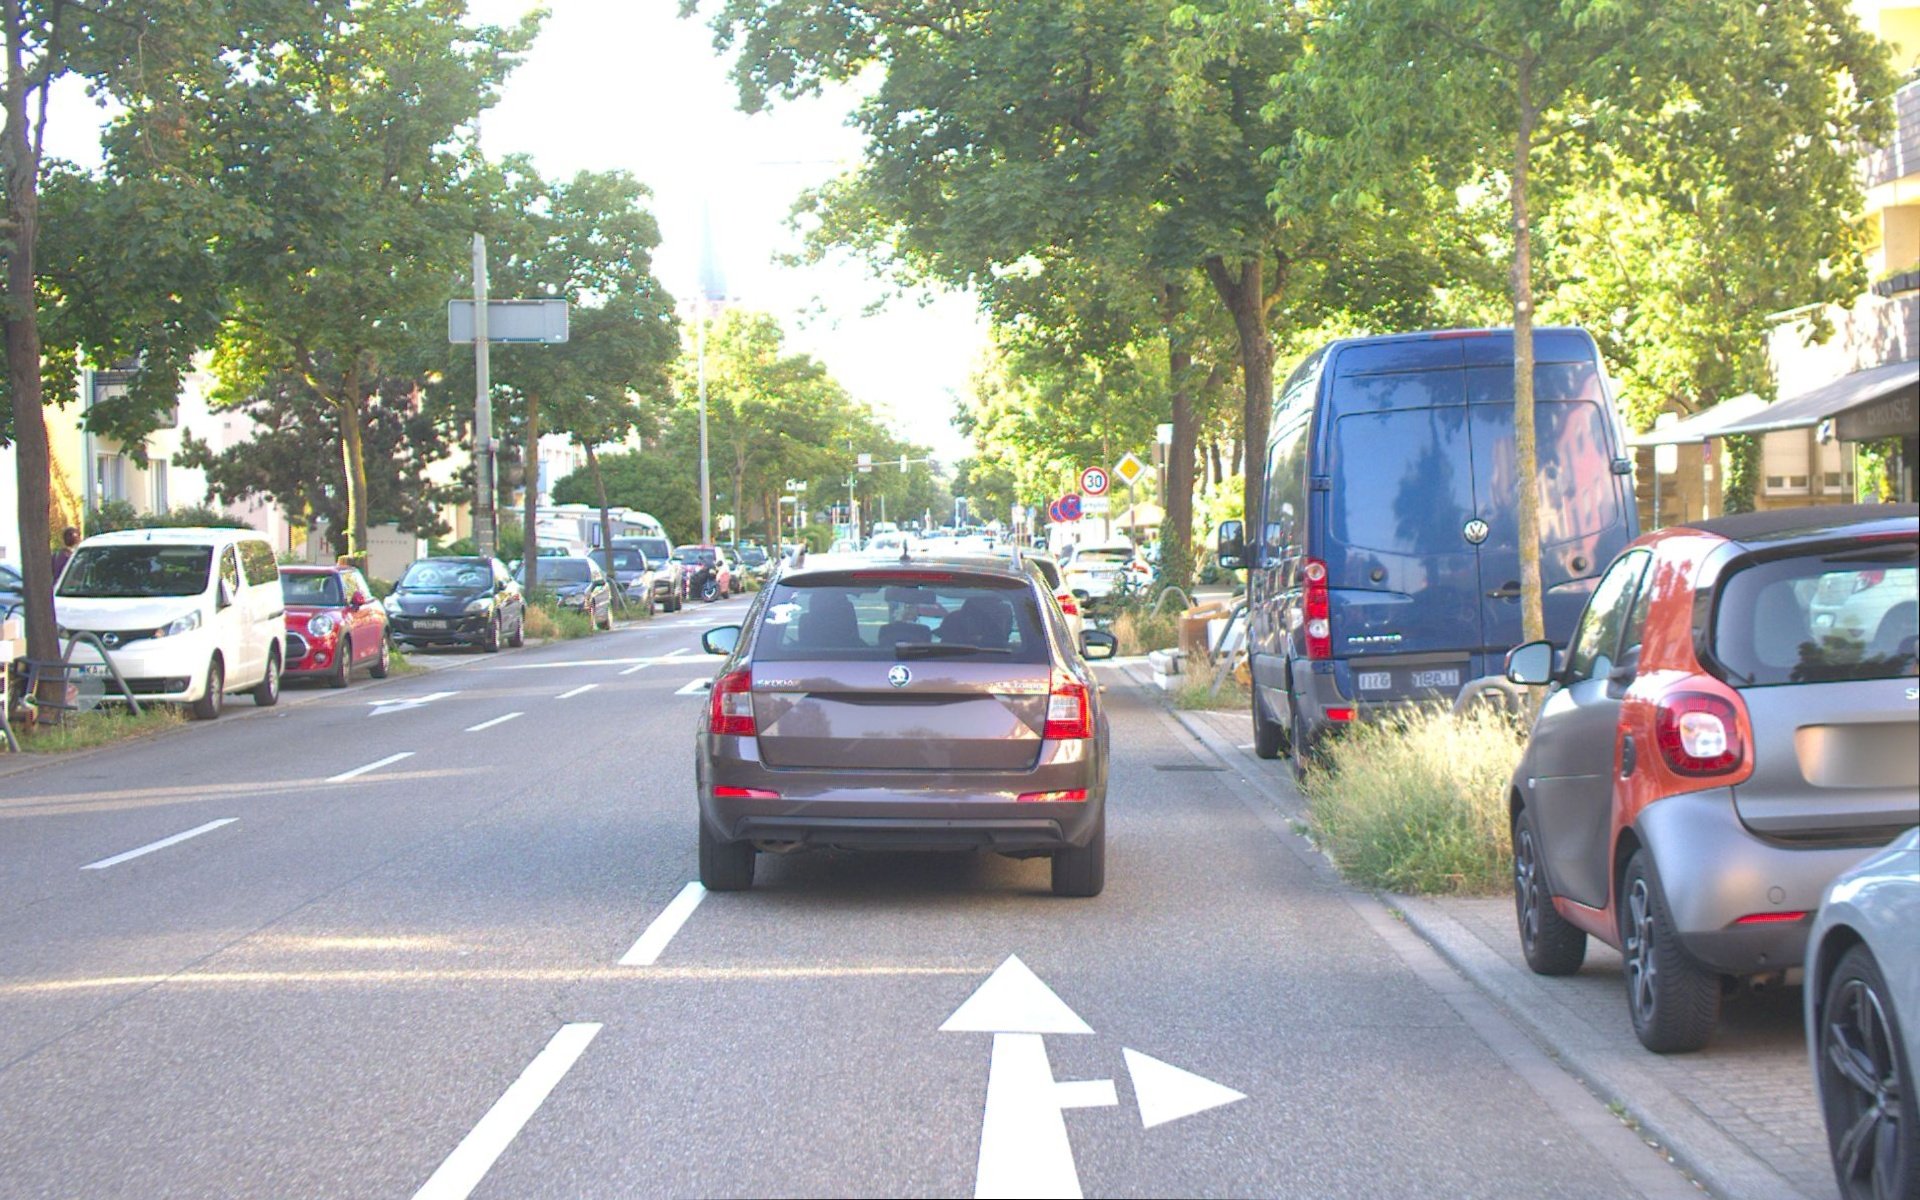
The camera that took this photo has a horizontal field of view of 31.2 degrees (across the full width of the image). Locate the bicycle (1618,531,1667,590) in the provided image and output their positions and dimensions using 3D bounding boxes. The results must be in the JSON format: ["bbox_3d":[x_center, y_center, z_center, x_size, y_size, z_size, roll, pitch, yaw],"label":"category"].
[{"bbox_3d":[11.349,-0.663,57.227,0.342,0.947,1.582,2,1,-5],"label":"bicycle"}]

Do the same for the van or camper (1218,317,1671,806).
[{"bbox_3d":[2.907,-0.248,22.032,2.068,2.666,5.990,-1,1,1],"label":"van or camper"}]

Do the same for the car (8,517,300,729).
[{"bbox_3d":[-7.900,0.159,34.094,1.770,1.912,4.460,-1,2,0],"label":"car"}]

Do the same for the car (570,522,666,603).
[{"bbox_3d":[-7.712,-0.870,77.762,1.750,1.734,3.591,-1,2,0],"label":"car"}]

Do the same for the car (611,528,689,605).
[{"bbox_3d":[-7.408,-0.813,82.427,1.507,1.751,3.694,-1,2,0],"label":"car"}]

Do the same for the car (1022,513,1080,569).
[{"bbox_3d":[3.019,-1.984,114.879,1.729,1.809,3.951,-1,2,-1],"label":"car"}]

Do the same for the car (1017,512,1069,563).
[{"bbox_3d":[3.045,-2.342,127.369,1.729,1.809,3.951,-1,2,-1],"label":"car"}]

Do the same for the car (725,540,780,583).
[{"bbox_3d":[-7.181,-1.343,119.205,1.664,1.427,3.275,-1,2,0],"label":"car"}]

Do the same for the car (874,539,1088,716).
[{"bbox_3d":[0.142,0.205,32.260,1.729,1.488,3.951,-1,2,-3],"label":"car"}]

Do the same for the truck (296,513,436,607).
[{"bbox_3d":[-13.682,-0.941,79.290,2.913,2.086,1.546,-1,1,0],"label":"truck"}]

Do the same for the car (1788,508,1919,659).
[{"bbox_3d":[10.620,-0.217,34.796,3.986,1.457,1.825,-1,2,-3],"label":"car"}]

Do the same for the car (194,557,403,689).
[{"bbox_3d":[-7.865,0.240,41.150,1.717,1.416,3.787,-1,2,0],"label":"car"}]

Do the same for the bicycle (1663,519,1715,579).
[{"bbox_3d":[12.003,-0.844,56.617,0.342,0.947,1.582,-3,1,-5],"label":"bicycle"}]

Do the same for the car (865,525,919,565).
[{"bbox_3d":[-3.188,-2.600,161.577,1.877,1.751,4.177,-1,2,8],"label":"car"}]

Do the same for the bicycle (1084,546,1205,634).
[{"bbox_3d":[2.786,-0.150,51.939,1.671,1.222,0.635,-3,1,13],"label":"bicycle"}]

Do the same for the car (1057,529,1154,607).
[{"bbox_3d":[2.854,-0.654,67.522,1.821,1.408,4.111,-1,2,2],"label":"car"}]

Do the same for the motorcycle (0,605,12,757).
[{"bbox_3d":[-8.158,0.659,26.452,0.441,1.188,1.703,0,2,38],"label":"motorcycle"}]

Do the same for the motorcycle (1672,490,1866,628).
[{"bbox_3d":[9.787,-0.502,41.654,2.195,1.615,0.731,-1,1,7],"label":"motorcycle"}]

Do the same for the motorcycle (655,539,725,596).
[{"bbox_3d":[-7.285,-0.887,92.668,0.764,1.506,2.029,-2,2,-42],"label":"motorcycle"}]

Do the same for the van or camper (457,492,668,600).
[{"bbox_3d":[-14.887,-2.033,129.050,7.640,3.861,2.000,-1,1,-1],"label":"van or camper"}]

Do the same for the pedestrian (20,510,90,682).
[{"bbox_3d":[-10.712,-0.054,40.709,0.626,2.006,0.616,-1,1,0],"label":"pedestrian"}]

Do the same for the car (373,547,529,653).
[{"bbox_3d":[-7.814,-0.035,53.108,1.717,1.492,4.248,-1,2,0],"label":"car"}]

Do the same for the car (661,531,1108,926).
[{"bbox_3d":[-0.242,0.469,15.479,1.729,1.488,3.951,-1,2,2],"label":"car"}]

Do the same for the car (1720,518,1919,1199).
[{"bbox_3d":[2.837,0.608,5.564,1.920,1.481,4.747,-1,2,-3],"label":"car"}]

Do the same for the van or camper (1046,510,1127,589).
[{"bbox_3d":[3.338,-1.376,91.581,1.993,2.006,4.000,-1,2,0],"label":"van or camper"}]

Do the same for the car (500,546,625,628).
[{"bbox_3d":[-7.474,-0.267,65.009,1.754,1.415,4.425,-1,2,1],"label":"car"}]

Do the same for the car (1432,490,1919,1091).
[{"bbox_3d":[2.756,0.490,11.329,1.772,1.636,3.757,-1,1,-1],"label":"car"}]

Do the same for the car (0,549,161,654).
[{"bbox_3d":[-13.873,0.007,50.219,3.986,1.474,2.000,0,2,-3],"label":"car"}]

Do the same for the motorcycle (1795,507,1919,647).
[{"bbox_3d":[11.062,-0.283,40.659,2.195,1.615,0.889,-1,1,7],"label":"motorcycle"}]
